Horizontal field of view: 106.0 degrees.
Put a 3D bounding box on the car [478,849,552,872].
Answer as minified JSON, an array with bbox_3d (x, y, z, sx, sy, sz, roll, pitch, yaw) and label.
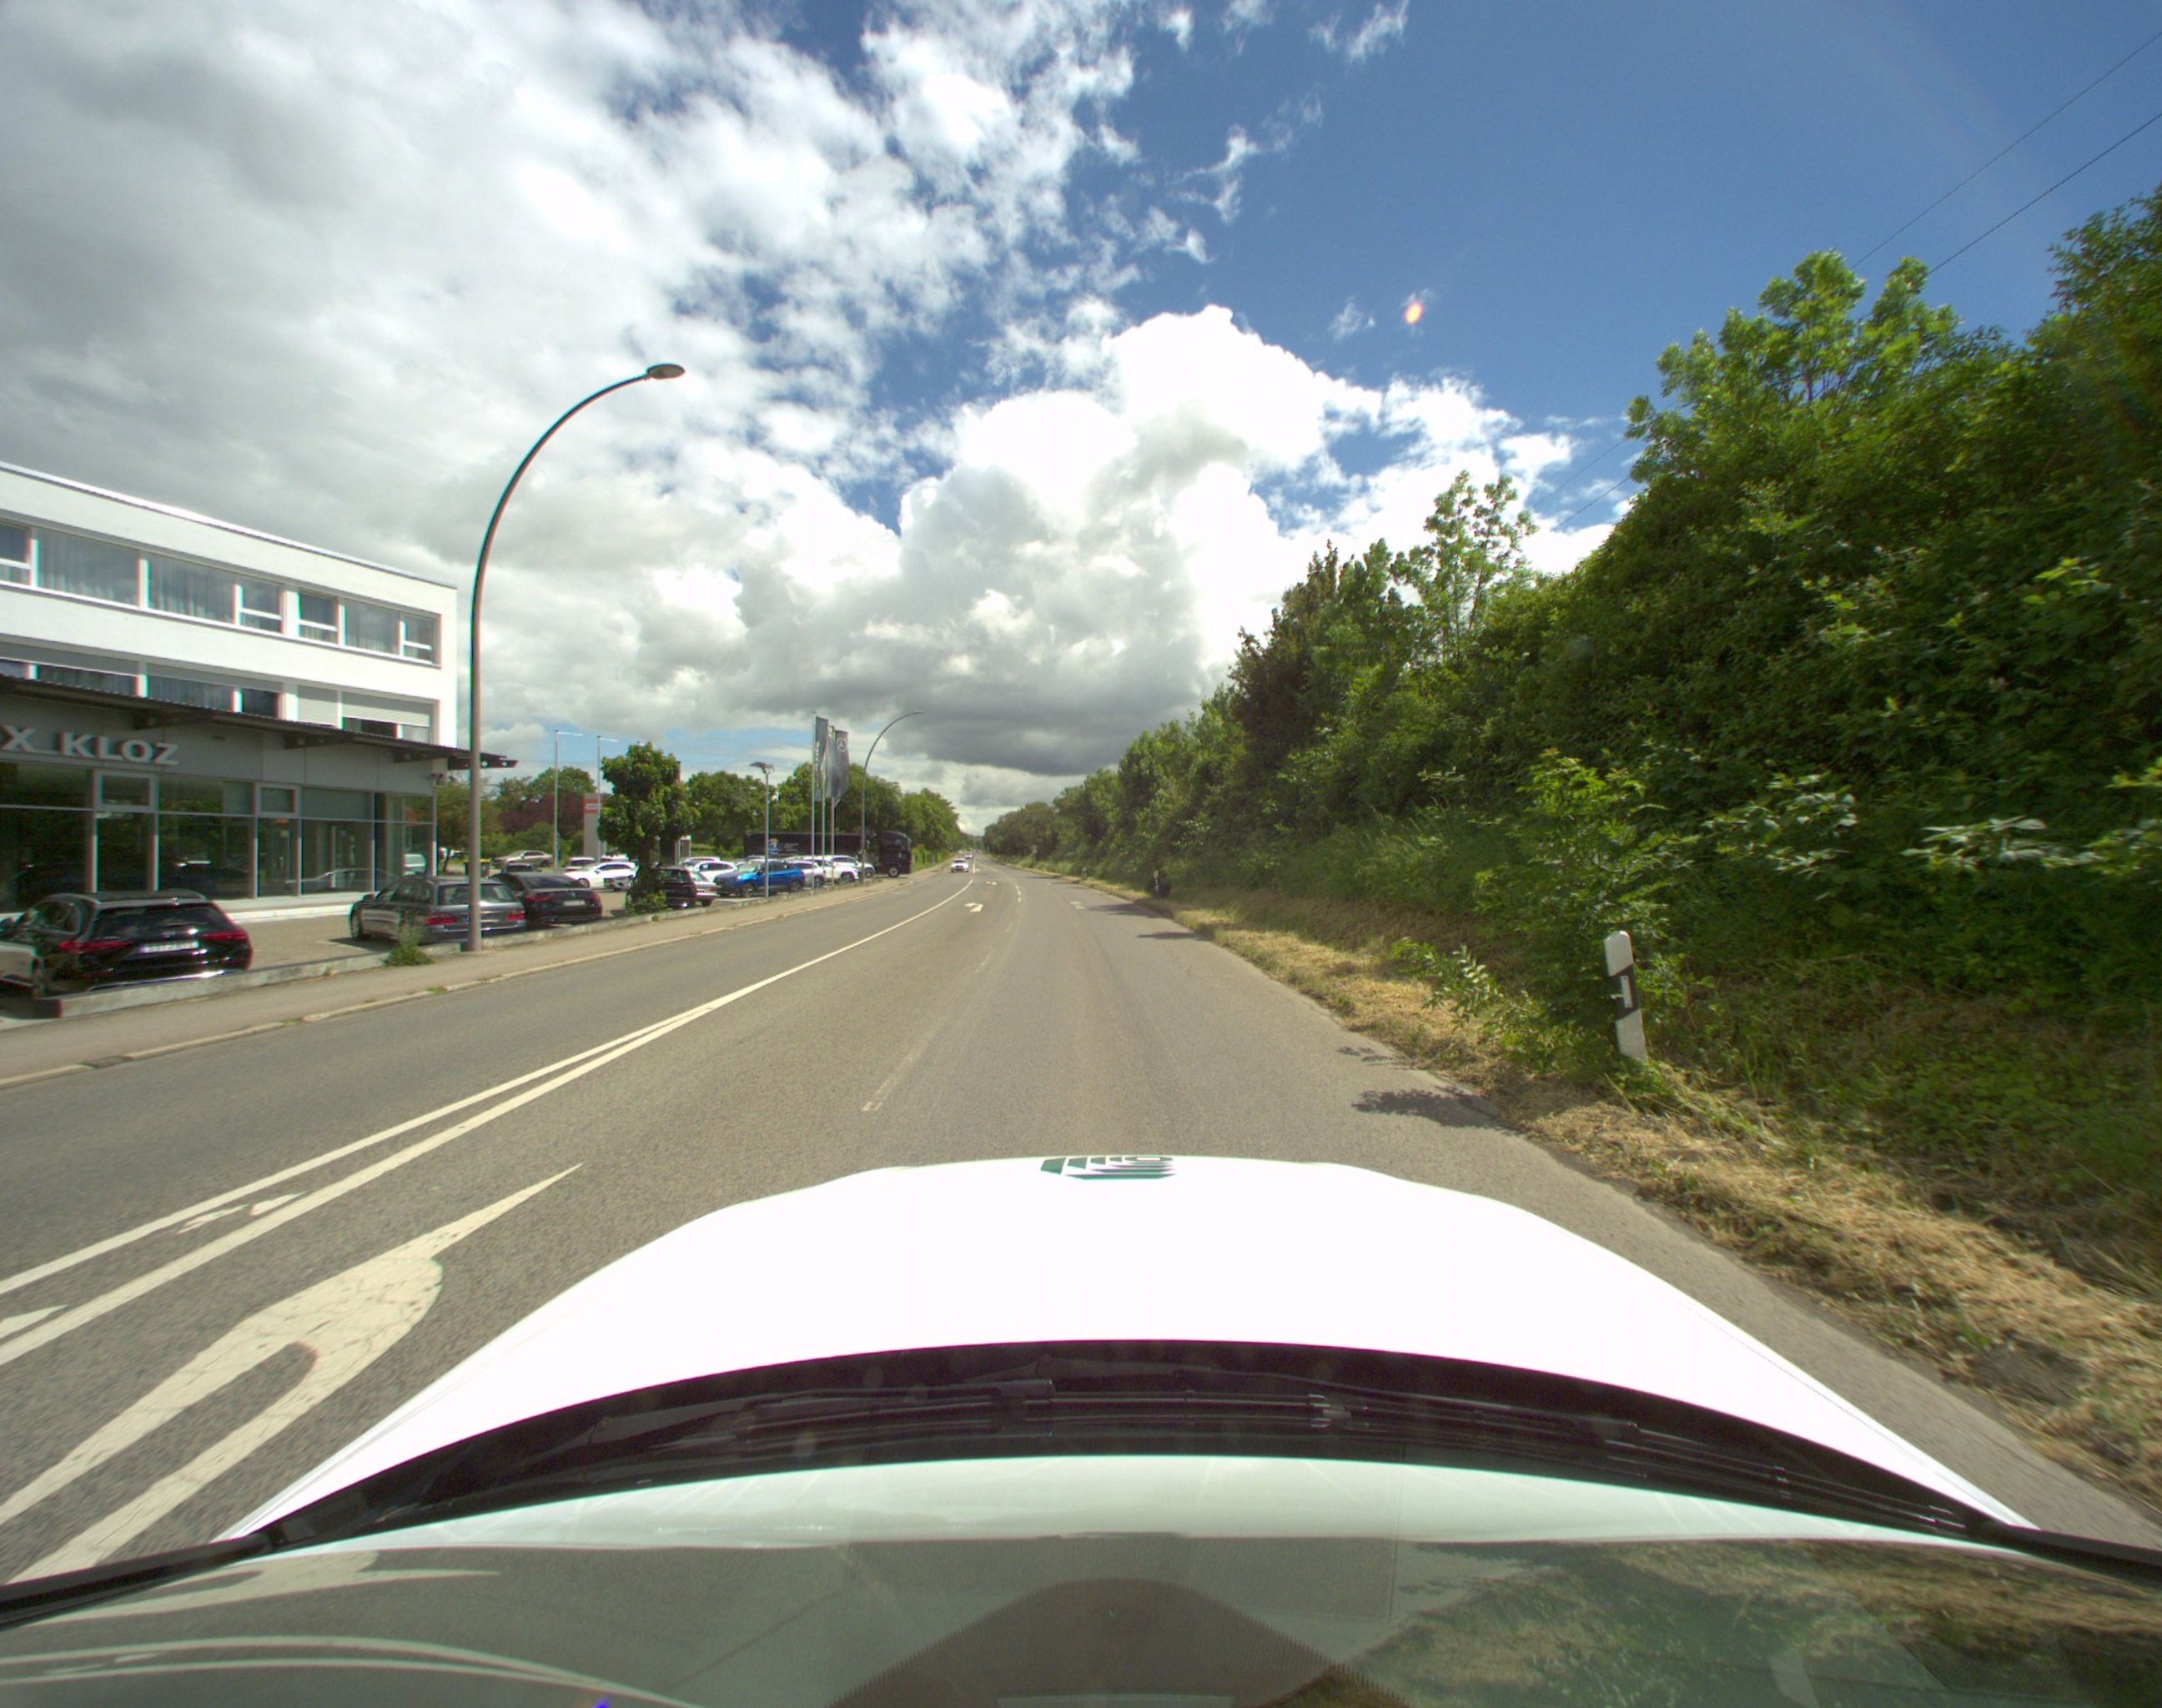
[{"bbox_3d":[-46.254,0.504,66.695,1.811,1.846,4.699,0,0,22],"label":"car"}]

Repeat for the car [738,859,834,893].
[{"bbox_3d":[-15.209,1.088,42.201,1.850,1.566,4.549,1,1,30],"label":"car"}]

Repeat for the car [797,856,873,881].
[{"bbox_3d":[-15.694,0.902,52.045,4.347,1.465,1.777,0,1,-35],"label":"car"}]

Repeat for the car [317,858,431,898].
[{"bbox_3d":[-29.843,0.983,34.363,4.527,1.590,1.938,-1,-2,25],"label":"car"}]

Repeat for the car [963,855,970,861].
[{"bbox_3d":[-29.163,0.928,208.146,1.658,1.432,3.685,-1,1,-6],"label":"car"}]

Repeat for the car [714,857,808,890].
[{"bbox_3d":[-17.213,1.007,44.036,1.850,1.566,4.549,1,1,30],"label":"car"}]

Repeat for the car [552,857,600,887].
[{"bbox_3d":[-29.061,1.007,46.805,1.856,1.629,3.954,0,0,-39],"label":"car"}]

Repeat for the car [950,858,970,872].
[{"bbox_3d":[-12.983,1.164,87.235,1.993,1.450,4.412,-2,0,-9],"label":"car"}]

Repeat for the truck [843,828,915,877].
[{"bbox_3d":[-16.441,-0.126,66.590,5.559,3.824,2.972,0,-1,-13],"label":"truck"}]

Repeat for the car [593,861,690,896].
[{"bbox_3d":[-22.475,1.228,41.772,1.781,1.625,3.980,1,1,32],"label":"car"}]

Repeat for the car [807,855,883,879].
[{"bbox_3d":[-16.187,0.875,56.101,1.963,1.605,4.772,1,0,37],"label":"car"}]

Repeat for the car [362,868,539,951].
[{"bbox_3d":[-13.153,1.060,16.936,3.903,1.494,1.815,-1,0,35],"label":"car"}]

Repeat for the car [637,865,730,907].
[{"bbox_3d":[-15.953,1.262,32.543,4.541,1.390,1.814,2,-1,44],"label":"car"}]

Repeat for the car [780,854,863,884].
[{"bbox_3d":[-15.425,0.857,48.508,4.319,1.678,1.915,0,0,-38],"label":"car"}]

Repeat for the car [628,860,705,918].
[{"bbox_3d":[-13.578,1.100,26.550,1.810,1.625,4.309,4,-1,-32],"label":"car"}]

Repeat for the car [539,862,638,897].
[{"bbox_3d":[-25.476,1.270,42.253,1.781,1.625,3.980,1,1,32],"label":"car"}]

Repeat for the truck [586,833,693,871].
[{"bbox_3d":[-36.906,-0.152,68.524,2.636,3.049,8.625,-1,0,15],"label":"truck"}]

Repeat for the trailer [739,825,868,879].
[{"bbox_3d":[-21.983,-0.164,64.641,9.478,4.083,3.294,0,-1,-24],"label":"trailer"}]

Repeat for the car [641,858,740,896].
[{"bbox_3d":[-18.255,1.025,38.213,1.782,1.625,3.977,1,1,23],"label":"car"}]

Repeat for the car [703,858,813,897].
[{"bbox_3d":[-15.049,1.031,38.189,1.870,1.668,4.599,1,0,30],"label":"car"}]

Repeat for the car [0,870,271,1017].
[{"bbox_3d":[-13.834,1.131,11.756,4.452,1.625,1.815,1,1,28],"label":"car"}]

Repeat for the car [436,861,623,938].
[{"bbox_3d":[-13.842,1.047,20.403,4.577,1.625,2.075,1,1,30],"label":"car"}]

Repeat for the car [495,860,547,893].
[{"bbox_3d":[-29.901,1.161,43.577,1.808,1.625,3.920,0,1,-28],"label":"car"}]
